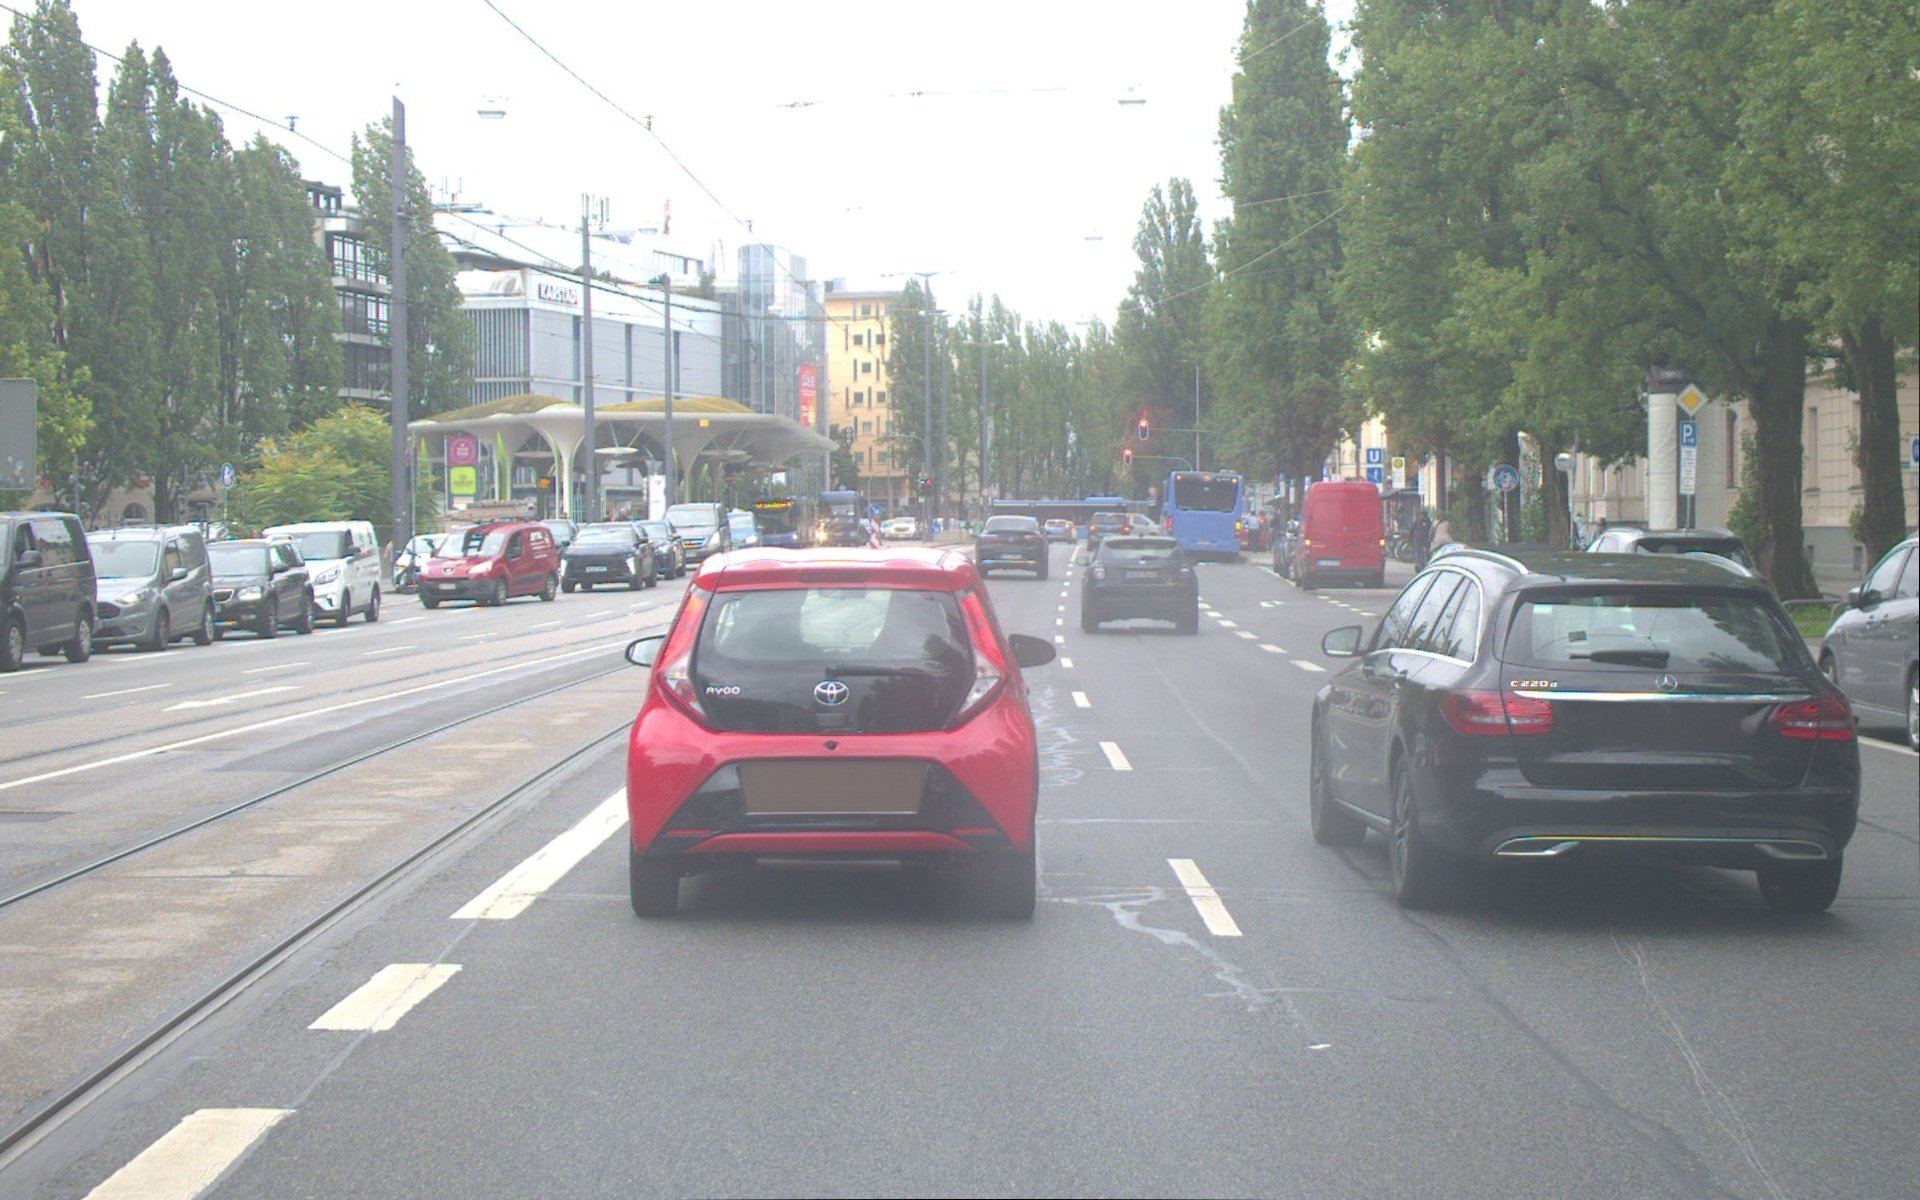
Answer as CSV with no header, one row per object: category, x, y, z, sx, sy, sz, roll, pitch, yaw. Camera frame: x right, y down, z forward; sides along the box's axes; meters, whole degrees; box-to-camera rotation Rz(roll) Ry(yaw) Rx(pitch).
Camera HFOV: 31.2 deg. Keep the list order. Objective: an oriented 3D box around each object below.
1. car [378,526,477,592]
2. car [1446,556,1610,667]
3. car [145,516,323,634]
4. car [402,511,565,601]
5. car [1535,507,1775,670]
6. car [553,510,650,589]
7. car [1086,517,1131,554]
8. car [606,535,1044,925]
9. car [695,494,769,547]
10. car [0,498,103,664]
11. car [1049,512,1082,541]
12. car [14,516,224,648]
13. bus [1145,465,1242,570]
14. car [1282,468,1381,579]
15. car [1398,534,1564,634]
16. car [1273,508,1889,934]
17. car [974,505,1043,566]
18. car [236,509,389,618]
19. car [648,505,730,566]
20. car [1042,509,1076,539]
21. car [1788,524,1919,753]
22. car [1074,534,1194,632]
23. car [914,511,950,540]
car,-13.158,-1.029,85.210,1.799,1.525,4.519,-2,1,-1
car,8.151,0.137,49.638,1.799,1.503,4.000,0,1,1
car,-11.815,-0.431,56.218,1.799,1.782,4.519,-2,1,1
car,-10.151,-0.966,73.578,1.800,1.782,4.516,-2,1,15
car,7.869,-0.178,39.329,1.799,1.737,4.701,0,1,0
car,-8.588,-1.213,82.648,1.799,1.782,4.519,-2,1,0
car,6.143,-2.688,142.655,1.781,1.481,4.000,0,1,1
car,-0.546,0.460,14.672,1.628,1.435,3.377,1,1,-1
car,-7.564,-2.640,114.241,1.799,1.659,4.518,-2,1,4
car,-12.313,-0.255,43.008,1.799,1.984,5.039,-1,1,1
car,6.546,-4.528,213.255,1.804,1.590,3.999,1,-2,5
car,-12.195,-0.295,50.119,1.799,1.782,4.519,-2,1,1
bus,8.184,-2.997,121.612,2.906,3.384,10.807,0,3,1
car,9.068,-1.908,84.242,1.993,2.565,4.680,0,3,1
car,8.153,-0.279,54.152,1.799,1.503,4.451,0,1,-2
car,2.548,0.395,15.258,1.863,1.543,4.704,-1,2,0
car,1.278,-1.692,89.925,1.736,1.544,4.576,0,1,1
car,-11.795,-0.683,62.906,1.799,1.855,4.631,-2,1,1
car,-7.877,-1.891,100.291,1.799,1.659,4.519,-2,1,2
car,5.958,-4.572,206.197,1.804,1.590,3.999,1,-2,5
car,7.645,0.232,25.724,1.799,1.606,4.547,0,1,0
car,2.713,-0.300,54.240,1.781,1.481,4.000,0,1,1
car,-1.444,-3.897,179.317,1.781,1.481,4.000,0,1,1
